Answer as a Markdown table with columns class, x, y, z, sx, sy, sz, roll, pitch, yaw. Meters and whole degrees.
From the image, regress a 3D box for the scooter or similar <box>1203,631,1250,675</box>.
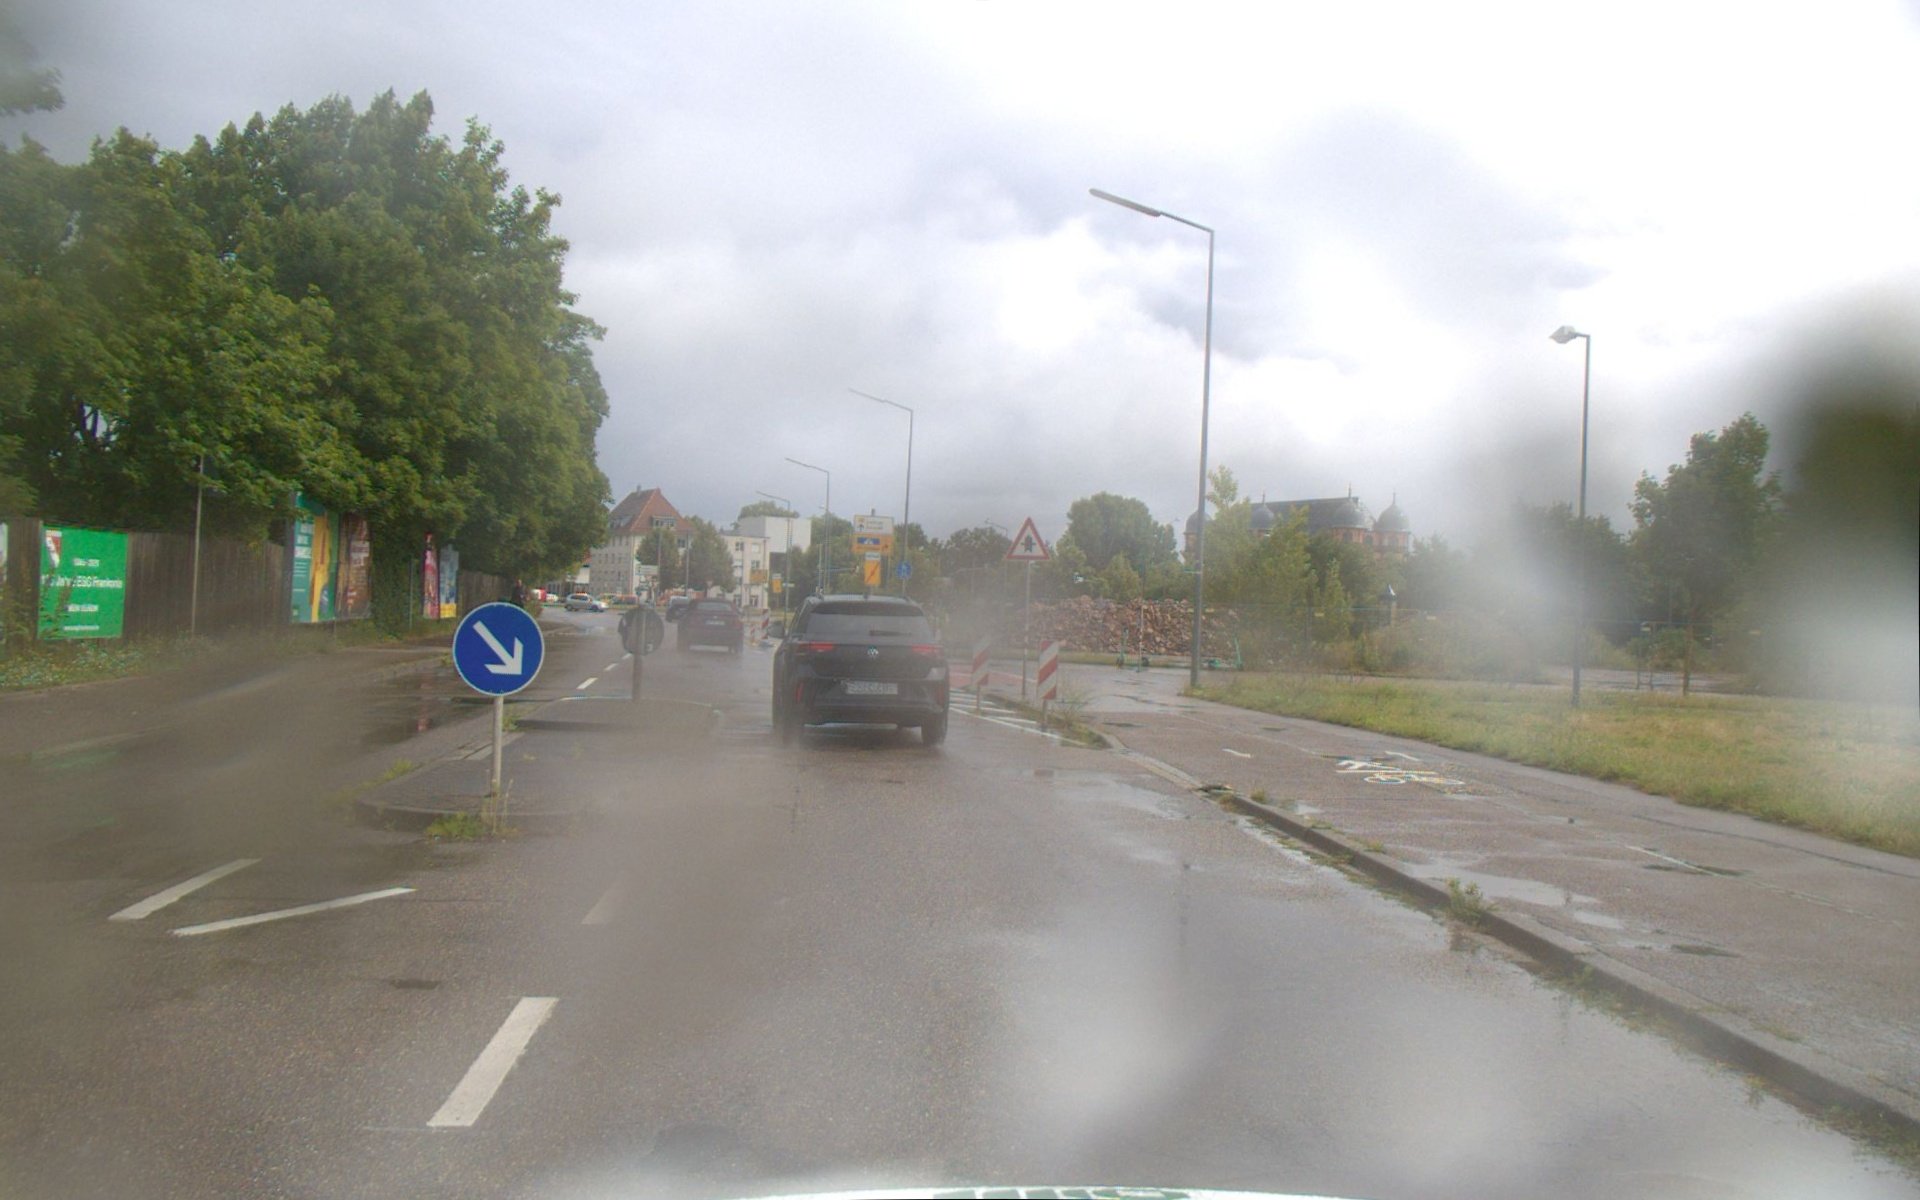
| class | x | y | z | sx | sy | sz | roll | pitch | yaw |
| --- | --- | --- | --- | --- | --- | --- | --- | --- | --- |
| scooter or similar | 8.277 | 1.639 | 51.297 | 1.257 | 1.207 | 0.502 | 5 | 1 | 31 |

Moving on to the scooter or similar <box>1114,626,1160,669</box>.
| class | x | y | z | sx | sy | sz | roll | pitch | yaw |
| --- | --- | --- | --- | --- | --- | --- | --- | --- | --- |
| scooter or similar | 5.556 | 1.488 | 51.897 | 1.257 | 1.207 | 0.502 | 5 | 1 | 31 |

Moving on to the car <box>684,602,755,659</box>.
| class | x | y | z | sx | sy | sz | roll | pitch | yaw |
| --- | --- | --- | --- | --- | --- | --- | --- | --- | --- |
| car | -6.548 | 0.816 | 44.771 | 1.807 | 1.467 | 3.990 | 0 | -1 | -10 |

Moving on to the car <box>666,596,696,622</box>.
| class | x | y | z | sx | sy | sz | roll | pitch | yaw |
| --- | --- | --- | --- | --- | --- | --- | --- | --- | --- |
| car | -18.755 | 0.613 | 111.068 | 1.808 | 1.670 | 4.005 | 2 | -1 | -11 |

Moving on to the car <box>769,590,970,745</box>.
| class | x | y | z | sx | sy | sz | roll | pitch | yaw |
| --- | --- | --- | --- | --- | --- | --- | --- | --- | --- |
| car | -1.127 | 0.688 | 18.602 | 1.949 | 1.547 | 3.993 | 0 | -1 | -8 |

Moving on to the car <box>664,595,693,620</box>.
| class | x | y | z | sx | sy | sz | roll | pitch | yaw |
| --- | --- | --- | --- | --- | --- | --- | --- | --- | --- |
| car | -20.704 | 0.555 | 121.536 | 1.960 | 1.732 | 4.005 | 2 | -1 | -11 |

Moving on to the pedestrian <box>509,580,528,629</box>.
| class | x | y | z | sx | sy | sz | roll | pitch | yaw |
| --- | --- | --- | --- | --- | --- | --- | --- | --- | --- |
| pedestrian | -16.060 | 0.148 | 60.161 | 0.514 | 1.730 | 0.565 | 4 | 1 | -10 |
